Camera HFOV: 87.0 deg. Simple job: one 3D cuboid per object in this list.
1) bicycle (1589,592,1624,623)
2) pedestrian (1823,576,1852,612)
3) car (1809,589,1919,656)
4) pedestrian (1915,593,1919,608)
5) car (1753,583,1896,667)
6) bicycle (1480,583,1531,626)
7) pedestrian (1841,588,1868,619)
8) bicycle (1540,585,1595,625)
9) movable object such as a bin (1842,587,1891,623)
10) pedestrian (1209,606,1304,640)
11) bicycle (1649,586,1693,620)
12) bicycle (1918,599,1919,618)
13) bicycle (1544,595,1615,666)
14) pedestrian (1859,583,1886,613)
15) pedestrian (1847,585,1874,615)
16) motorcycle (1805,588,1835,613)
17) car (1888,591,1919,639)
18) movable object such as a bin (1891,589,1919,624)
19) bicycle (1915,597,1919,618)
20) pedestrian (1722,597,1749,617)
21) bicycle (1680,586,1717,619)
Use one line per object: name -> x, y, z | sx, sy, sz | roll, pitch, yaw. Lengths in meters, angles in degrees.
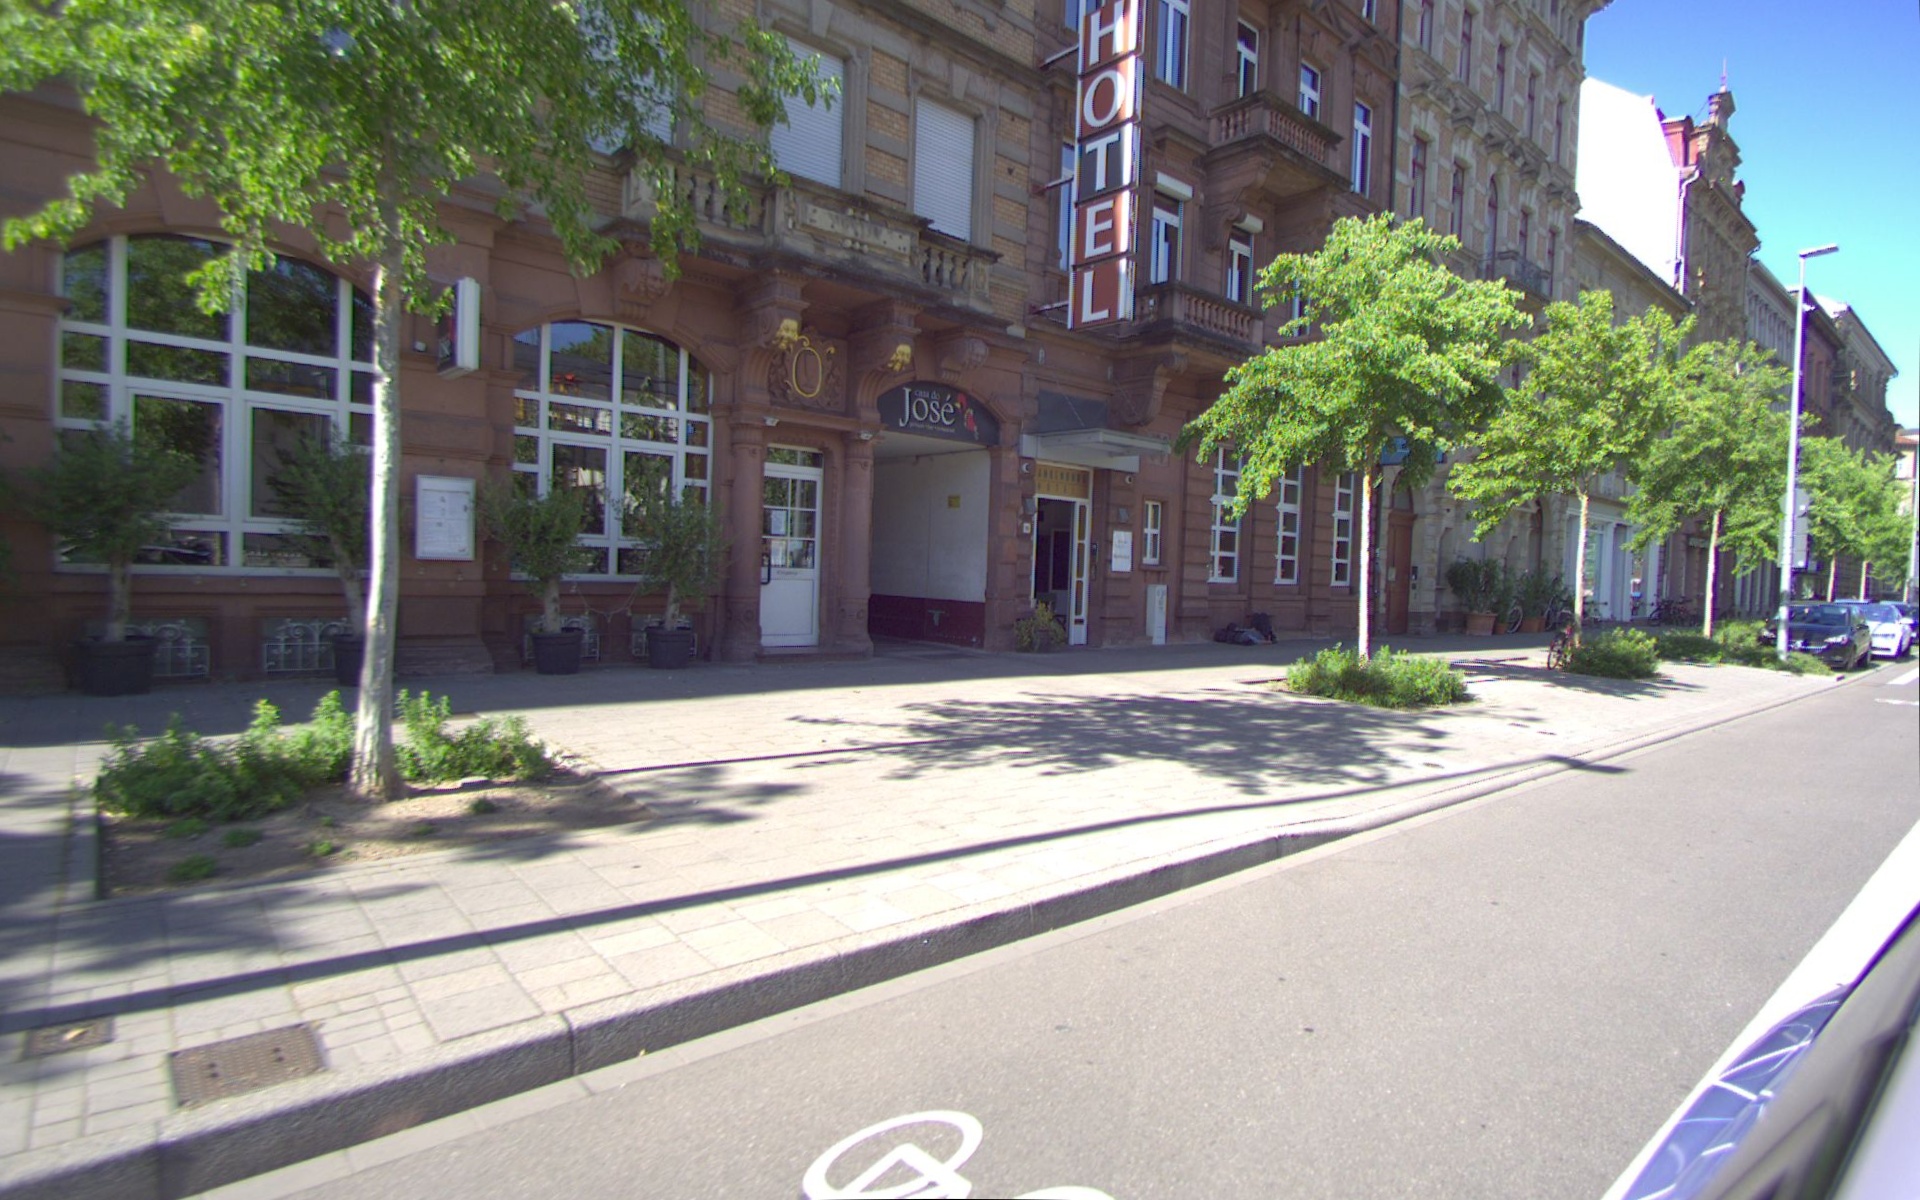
bicycle -> 21.081, 0.249, 32.996 | 1.978, 0.957, 0.448 | 1, 1, -42
pedestrian -> 49.342, -0.328, 56.889 | 1.077, 1.943, 0.893 | 0, 4, -37
car -> 24.828, 0.539, 27.470 | 5.017, 1.513, 1.956 | 0, 4, -42
pedestrian -> 75.231, 0.042, 79.104 | 0.866, 1.197, 0.718 | -1, 3, -42
car -> 19.822, 0.489, 23.141 | 4.148, 1.588, 1.888 | -1, 5, -42
bicycle -> 14.627, 0.106, 27.103 | 2.021, 1.103, 0.482 | 0, 3, -42
pedestrian -> 49.954, 0.207, 56.514 | 0.975, 1.659, 0.973 | 1, 2, -42
bicycle -> 17.917, 0.147, 29.825 | 2.160, 1.103, 0.722 | 0, 3, -42
movable object such as a bin -> 41.523, 0.202, 46.344 | 1.718, 1.513, 1.377 | -1, 5, -41
pedestrian -> 5.539, 0.409, 18.862 | 1.973, 0.560, 0.774 | 0, 3, -42
bicycle -> 26.089, 0.092, 37.102 | 2.146, 1.118, 0.877 | 0, 5, -45
bicycle -> 50.696, 0.440, 52.000 | 2.044, 1.120, 0.601 | 7, 5, 43
bicycle -> 11.209, 0.512, 18.287 | 0.650, 1.133, 2.139 | 5, 4, 42
pedestrian -> 50.923, -0.107, 56.469 | 1.061, 1.586, 0.952 | 2, 2, -42
pedestrian -> 54.544, -0.018, 61.277 | 1.094, 1.712, 0.972 | 0, 4, -40
motorcycle -> 47.206, 0.018, 55.522 | 2.931, 1.282, 0.867 | -1, 2, -42
car -> 34.181, 0.531, 35.744 | 4.376, 1.494, 1.768 | -1, 6, -44
movable object such as a bin -> 42.694, 0.299, 45.248 | 1.613, 1.482, 1.275 | 3, -1, -37
bicycle -> 51.677, 0.480, 53.011 | 2.278, 1.115, 0.480 | 5, 4, 35
pedestrian -> 34.048, 0.287, 44.441 | 0.867, 0.828, 0.968 | 1, 2, 35
bicycle -> 28.441, 0.088, 38.987 | 1.770, 1.215, 0.749 | -1, 4, -42
